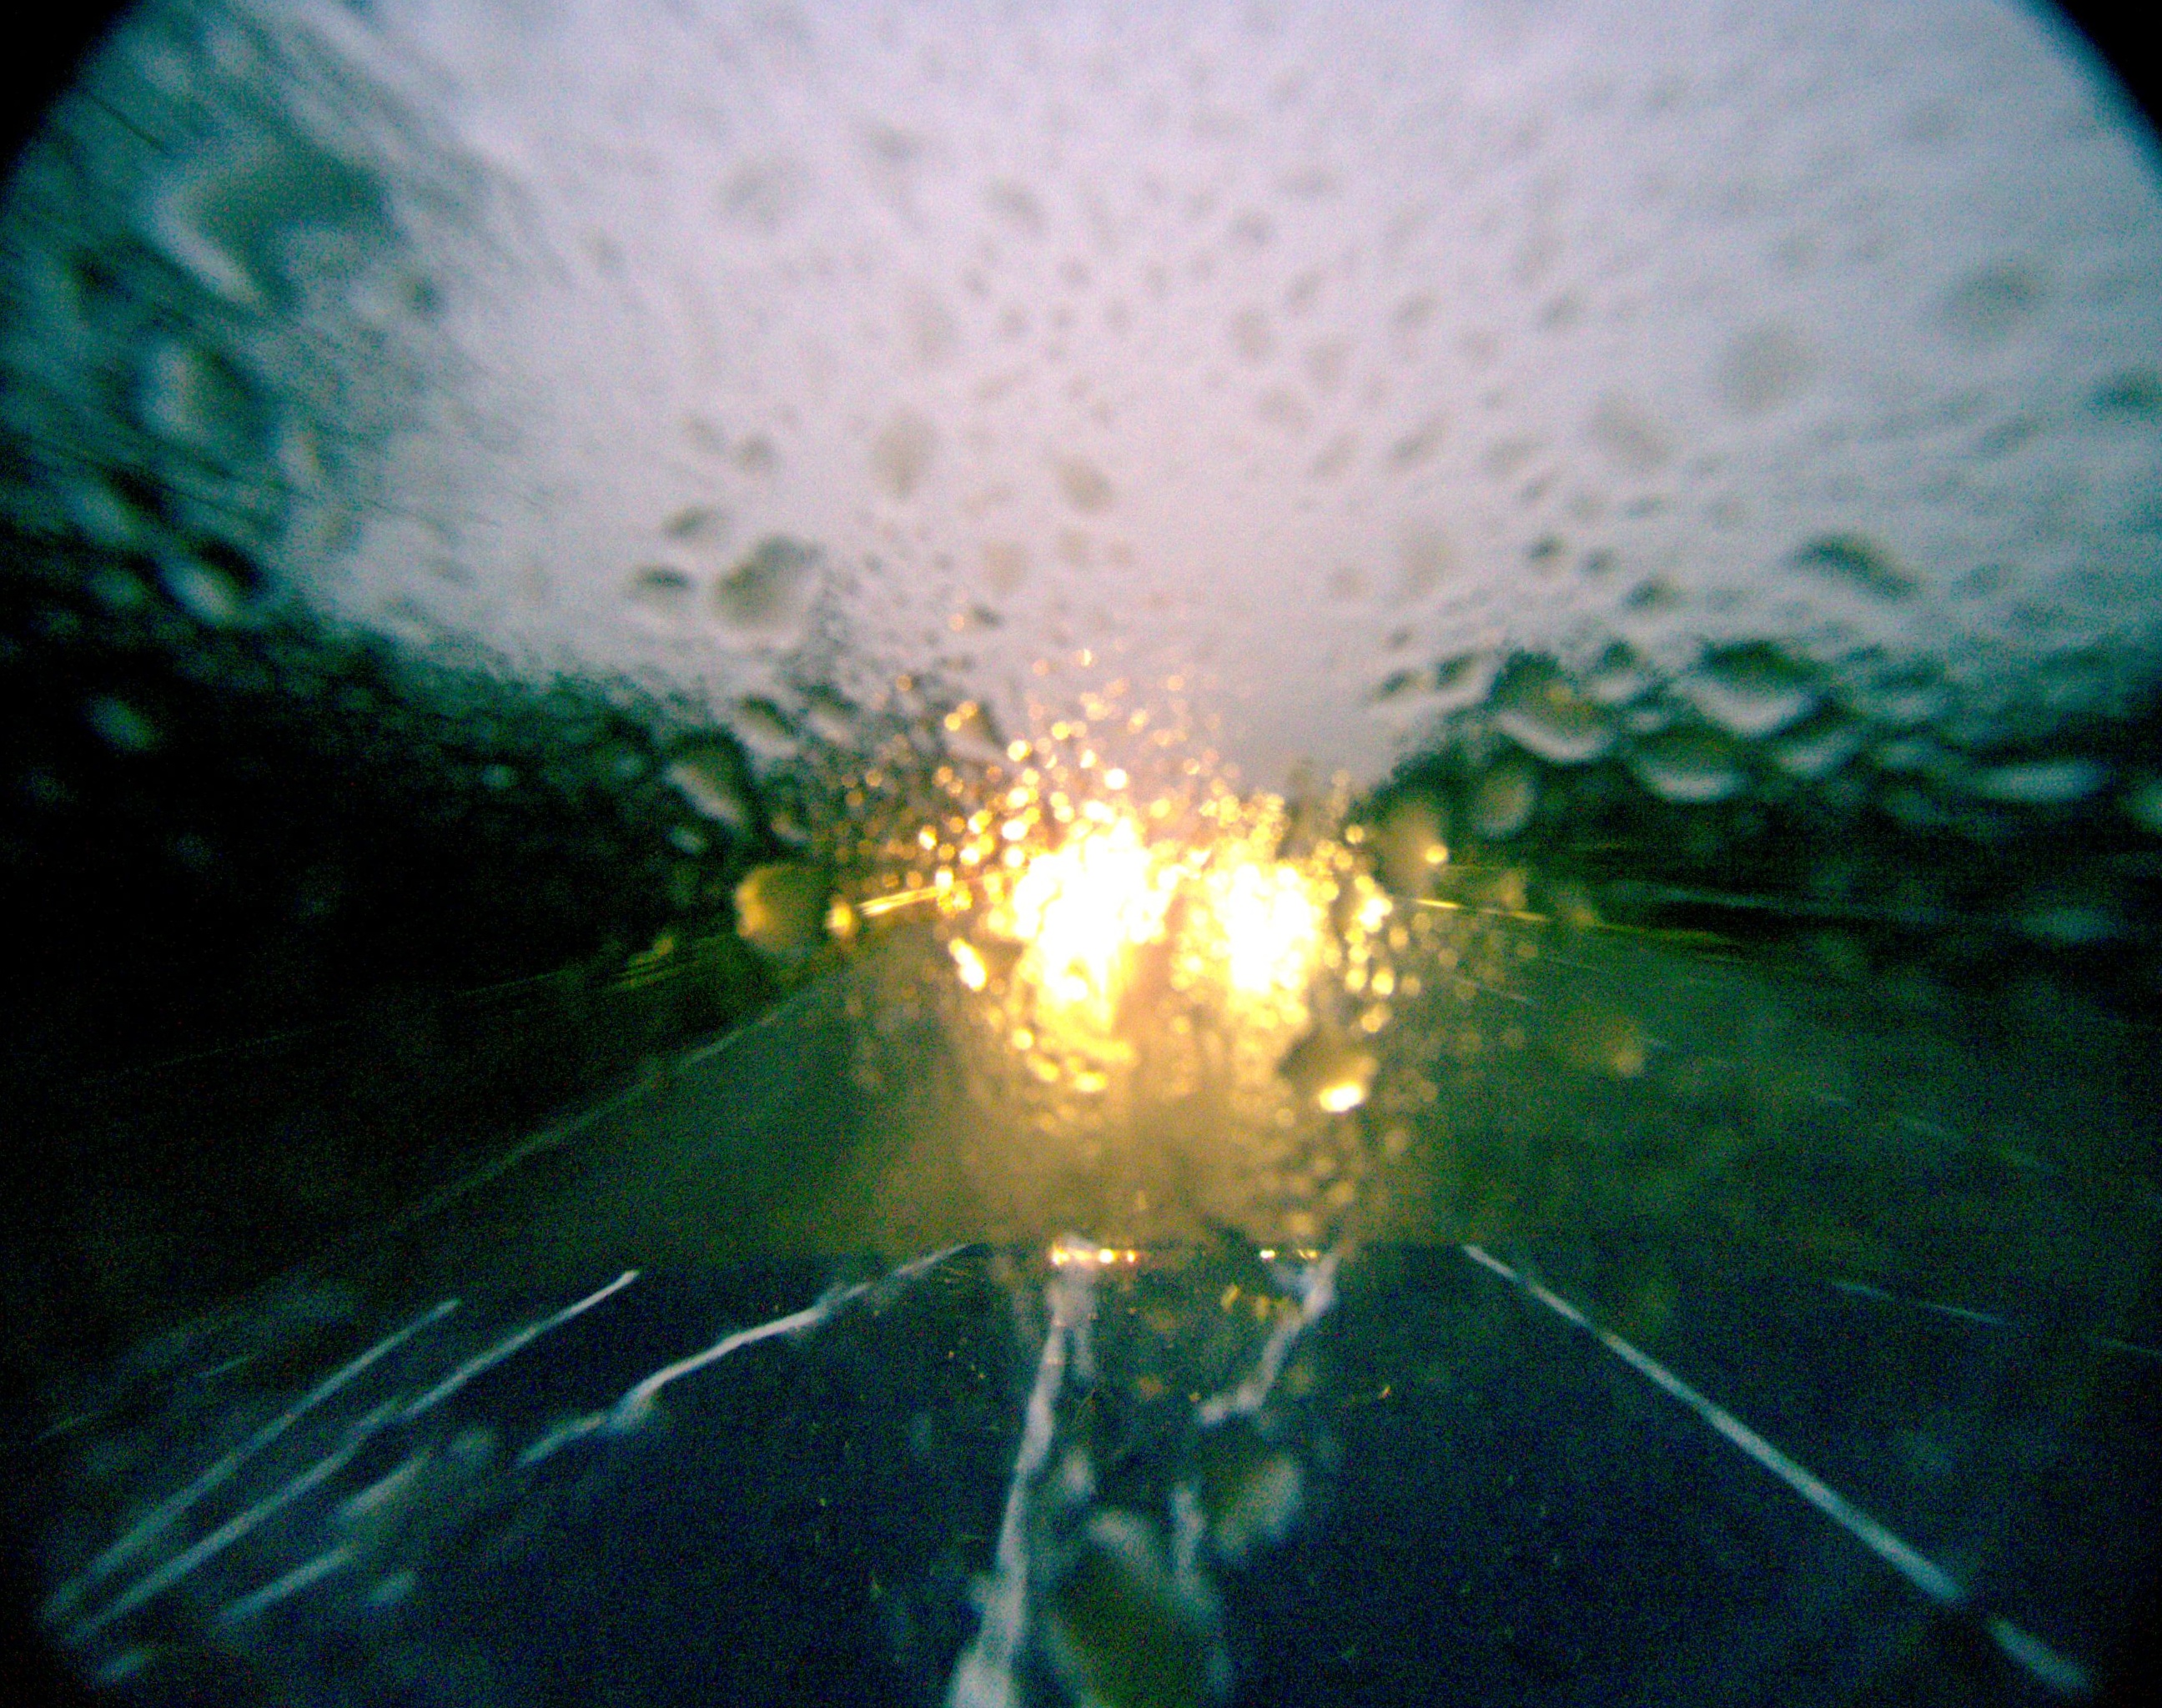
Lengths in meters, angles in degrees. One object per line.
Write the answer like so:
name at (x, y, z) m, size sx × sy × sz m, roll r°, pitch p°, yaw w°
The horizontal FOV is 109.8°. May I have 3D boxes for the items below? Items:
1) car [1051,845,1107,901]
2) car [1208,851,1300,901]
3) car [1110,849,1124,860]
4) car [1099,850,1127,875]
car at (0.004, 0.697, 29.742) m, size 1.998 × 2.002 × 3.964 m, roll -1°, pitch 0°, yaw 2°
car at (5.822, 0.686, 26.142) m, size 1.803 × 1.459 × 4.411 m, roll -3°, pitch 0°, yaw -4°
car at (4.240, 0.038, 88.941) m, size 1.482 × 1.198 × 3.349 m, roll -3°, pitch 0°, yaw 1°
car at (2.242, 0.539, 52.381) m, size 1.653 × 1.503 × 3.874 m, roll 0°, pitch 3°, yaw 6°
